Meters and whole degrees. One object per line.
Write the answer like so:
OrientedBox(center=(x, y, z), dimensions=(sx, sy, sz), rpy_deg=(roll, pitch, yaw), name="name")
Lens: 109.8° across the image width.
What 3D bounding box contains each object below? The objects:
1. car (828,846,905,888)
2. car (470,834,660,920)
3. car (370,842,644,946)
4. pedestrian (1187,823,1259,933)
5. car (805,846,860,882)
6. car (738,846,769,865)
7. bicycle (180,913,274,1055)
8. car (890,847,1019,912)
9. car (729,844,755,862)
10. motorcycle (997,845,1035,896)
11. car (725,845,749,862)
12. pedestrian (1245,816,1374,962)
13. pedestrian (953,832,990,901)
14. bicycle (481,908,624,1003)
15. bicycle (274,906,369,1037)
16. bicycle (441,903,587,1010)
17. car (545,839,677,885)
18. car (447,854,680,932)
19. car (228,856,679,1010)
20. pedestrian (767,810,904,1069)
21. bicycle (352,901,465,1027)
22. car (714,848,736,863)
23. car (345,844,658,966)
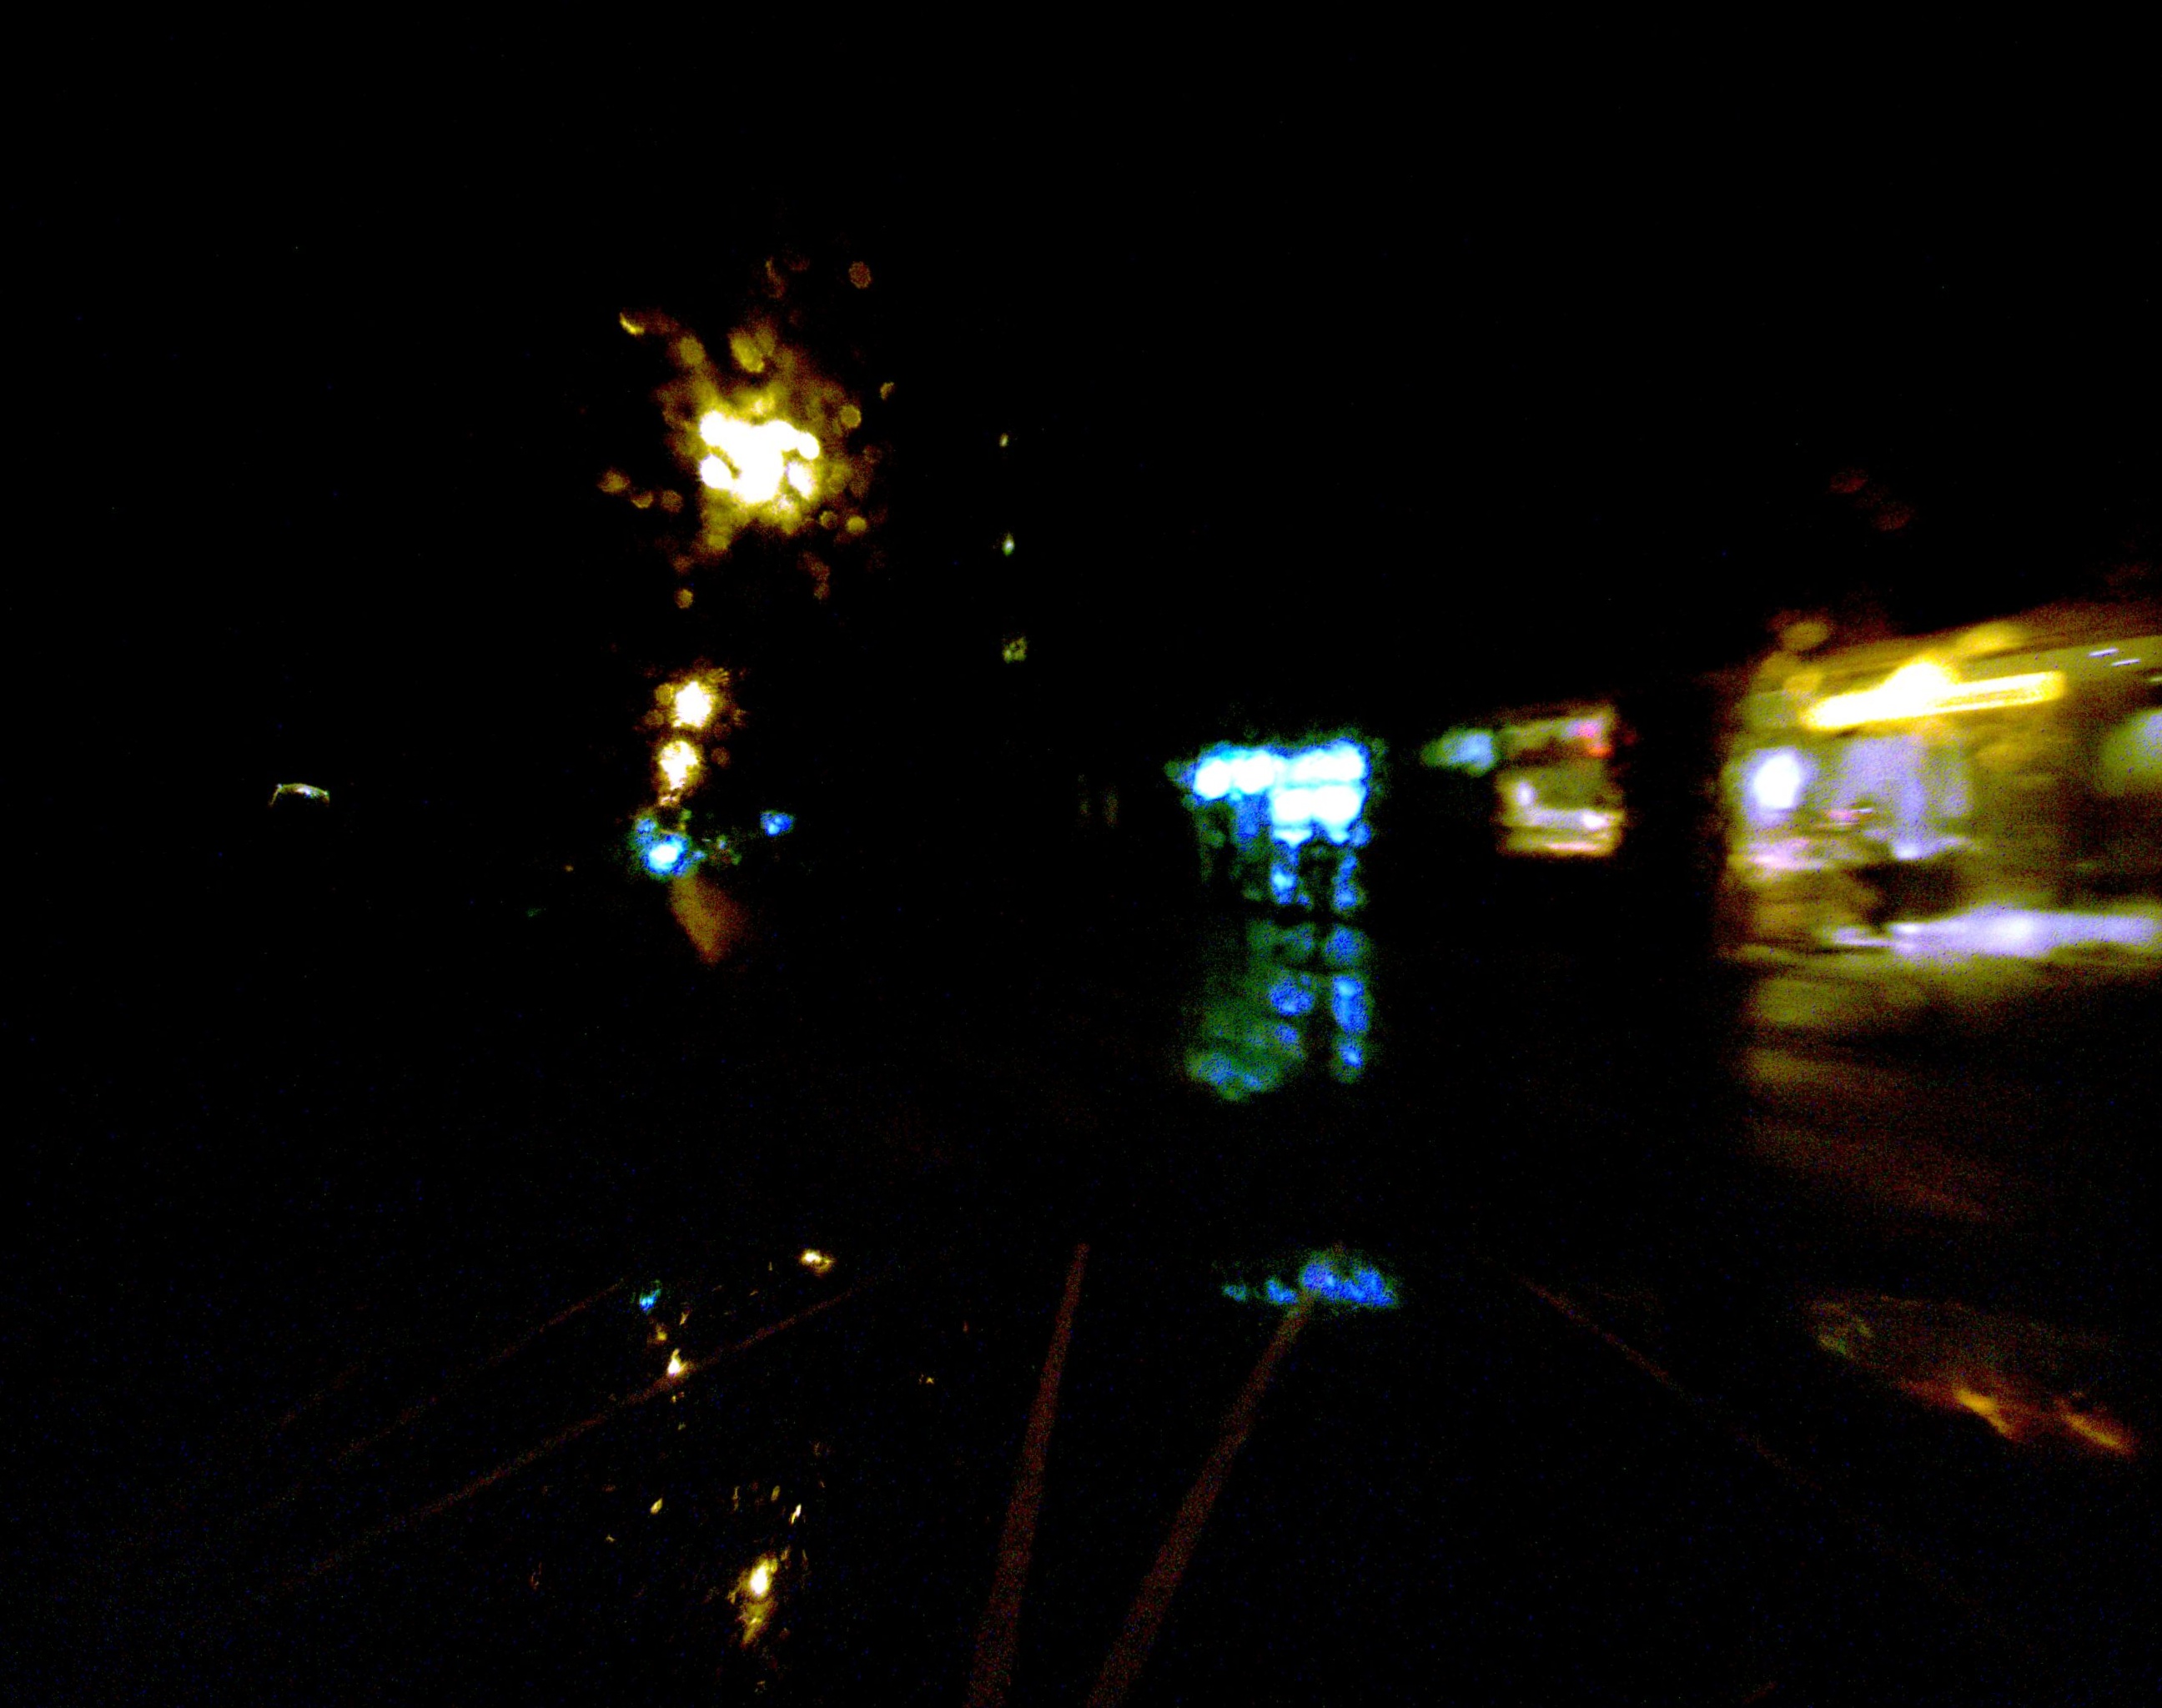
OrientedBox(center=(-8.497, 0.448, 29.854), dimensions=(1.724, 1.470, 4.149), rpy_deg=(-3, 2, -32), name="car")
OrientedBox(center=(-13.348, 0.544, 19.903), dimensions=(1.717, 2.017, 3.747), rpy_deg=(0, 0, 26), name="car")
OrientedBox(center=(-10.771, 0.658, 14.563), dimensions=(1.744, 1.702, 3.800), rpy_deg=(0, 0, 26), name="car")
OrientedBox(center=(2.483, 0.392, 13.347), dimensions=(0.677, 1.822, 1.075), rpy_deg=(-4, 3, -27), name="pedestrian")
OrientedBox(center=(-11.299, 0.410, 34.464), dimensions=(1.724, 1.470, 3.777), rpy_deg=(-4, 2, -27), name="car")
OrientedBox(center=(-27.245, 0.123, 63.164), dimensions=(1.855, 1.470, 3.726), rpy_deg=(-4, 2, -29), name="car")
OrientedBox(center=(-7.539, 1.089, 6.690), dimensions=(1.641, 1.020, 0.337), rpy_deg=(1, 2, 35), name="bicycle")
OrientedBox(center=(-3.585, 0.583, 20.691), dimensions=(1.855, 1.470, 5.018), rpy_deg=(-3, 2, -29), name="car")
OrientedBox(center=(-32.806, -0.088, 73.557), dimensions=(1.855, 1.572, 3.726), rpy_deg=(-4, 2, -29), name="car")
OrientedBox(center=(-1.986, 0.484, 23.005), dimensions=(0.539, 1.463, 1.454), rpy_deg=(-4, 3, -30), name="motorcycle")
OrientedBox(center=(-35.142, -0.099, 77.636), dimensions=(1.855, 1.572, 3.726), rpy_deg=(-4, 2, -29), name="car")
OrientedBox(center=(3.128, 0.433, 10.483), dimensions=(0.960, 1.853, 1.411), rpy_deg=(-2, 2, -30), name="pedestrian")
OrientedBox(center=(-3.649, 0.411, 25.272), dimensions=(0.803, 2.228, 1.114), rpy_deg=(-2, 2, -30), name="pedestrian")
OrientedBox(center=(-6.065, 1.146, 8.720), dimensions=(1.643, 1.020, 0.336), rpy_deg=(-1, 0, 14), name="bicycle")
OrientedBox(center=(-7.287, 1.075, 7.266), dimensions=(1.641, 1.086, 0.337), rpy_deg=(-1, 0, 35), name="bicycle")
OrientedBox(center=(-6.164, 1.089, 8.245), dimensions=(1.643, 1.020, 0.336), rpy_deg=(2, 1, 16), name="bicycle")
OrientedBox(center=(-21.545, 0.292, 35.046), dimensions=(1.974, 1.969, 4.720), rpy_deg=(0, 2, 32), name="car")
OrientedBox(center=(-11.863, 0.794, 17.678), dimensions=(1.829, 1.588, 4.081), rpy_deg=(0, 0, 33), name="car")
OrientedBox(center=(-7.940, 0.821, 10.089), dimensions=(1.767, 1.564, 4.272), rpy_deg=(0, 0, 33), name="car")
OrientedBox(center=(-1.793, 0.581, 5.612), dimensions=(0.829, 1.761, 0.599), rpy_deg=(-3, 2, -17), name="pedestrian")
OrientedBox(center=(-6.775, 1.062, 7.633), dimensions=(1.641, 1.021, 0.336), rpy_deg=(4, 5, 31), name="bicycle")
OrientedBox(center=(-39.721, 0.152, 84.820), dimensions=(1.855, 1.572, 3.726), rpy_deg=(-4, 2, -29), name="car")
OrientedBox(center=(-9.407, 0.709, 12.678), dimensions=(1.767, 1.702, 3.747), rpy_deg=(0, 0, 26), name="car")
